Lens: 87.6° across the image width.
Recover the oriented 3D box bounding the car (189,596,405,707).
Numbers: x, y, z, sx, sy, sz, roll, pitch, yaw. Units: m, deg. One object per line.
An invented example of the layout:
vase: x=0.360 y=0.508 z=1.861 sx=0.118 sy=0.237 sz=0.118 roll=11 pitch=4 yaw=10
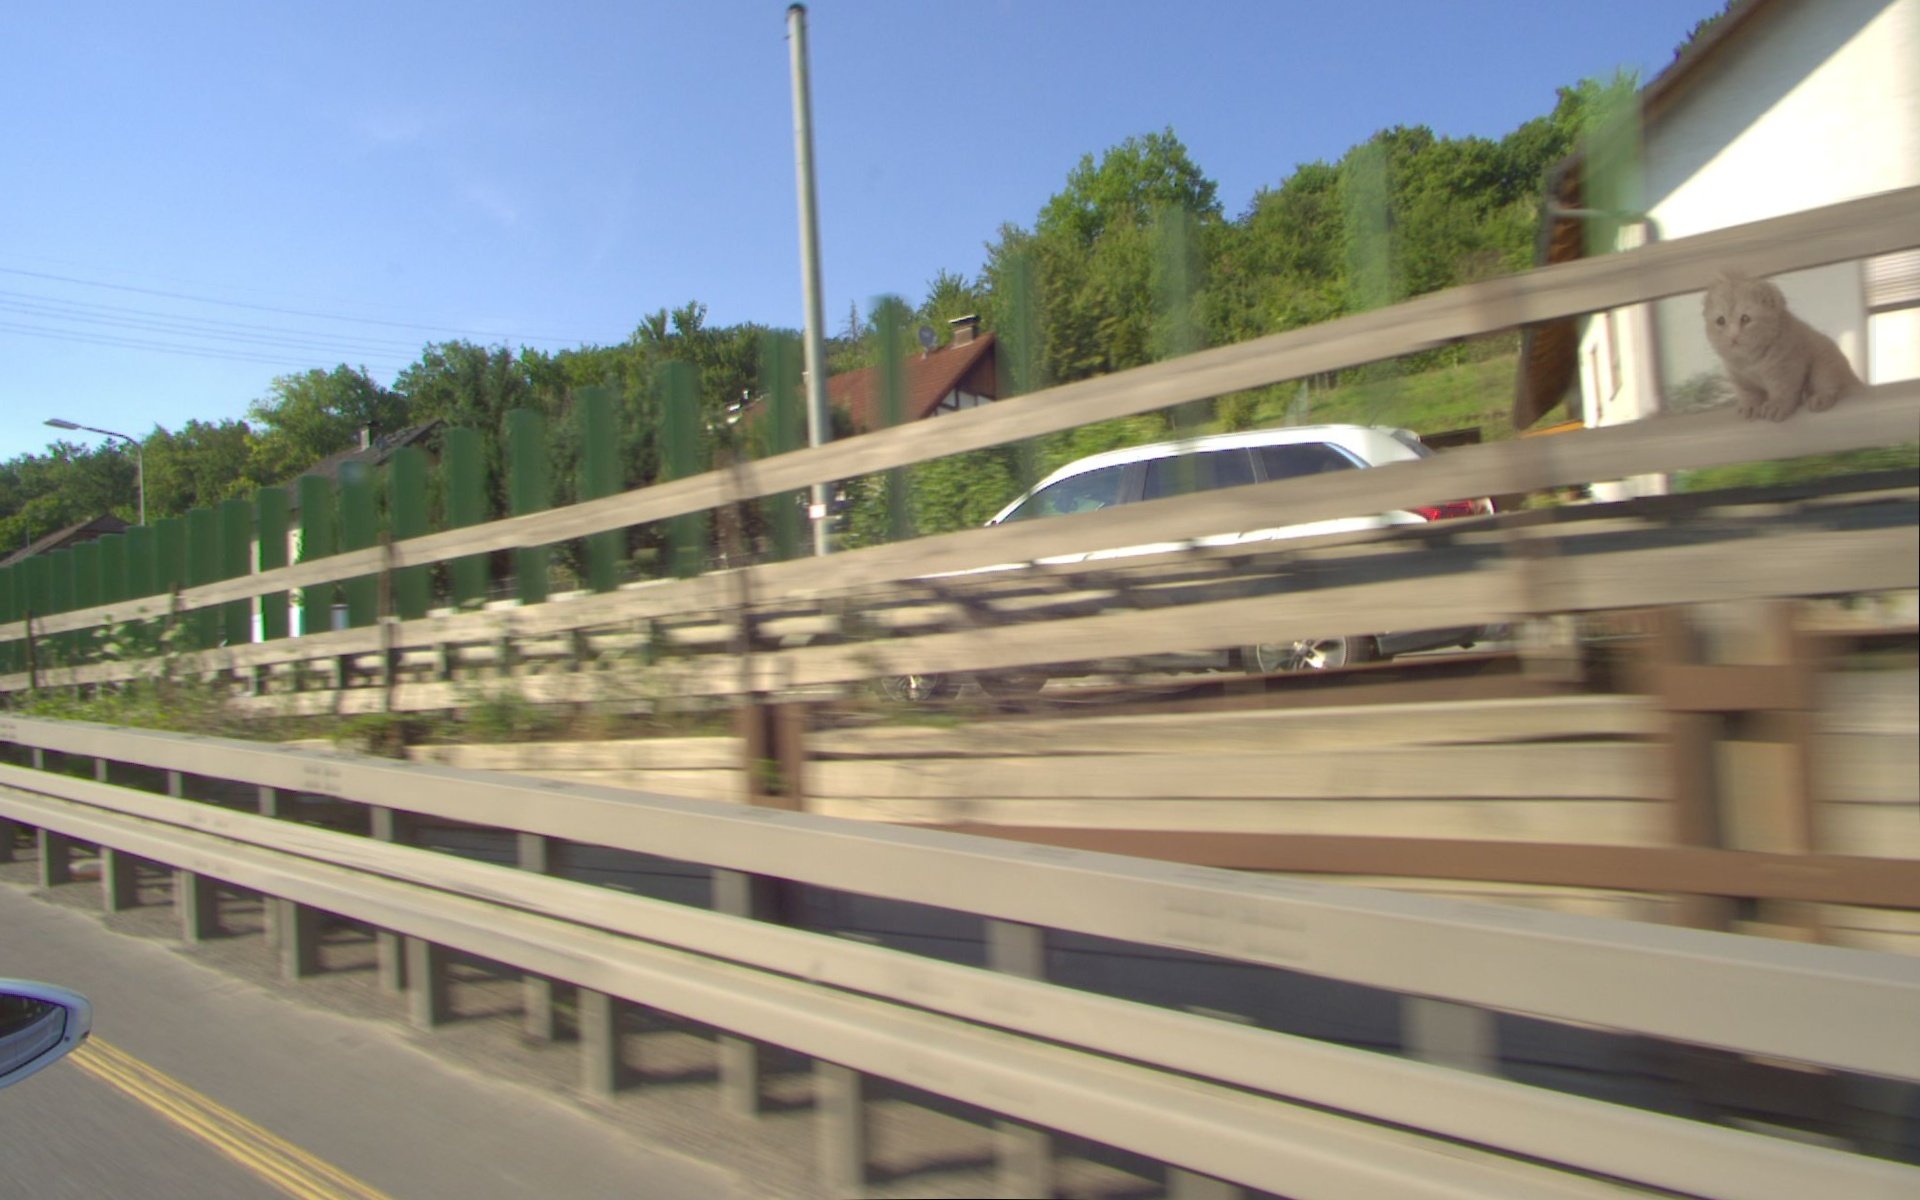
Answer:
car: x=-12.665 y=1.025 z=19.060 sx=4.378 sy=1.894 sz=1.804 roll=-4 pitch=-3 yaw=32

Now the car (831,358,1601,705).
car: x=1.506 y=-0.209 z=6.781 sx=4.579 sy=1.679 sz=1.696 roll=-4 pitch=-3 yaw=29
